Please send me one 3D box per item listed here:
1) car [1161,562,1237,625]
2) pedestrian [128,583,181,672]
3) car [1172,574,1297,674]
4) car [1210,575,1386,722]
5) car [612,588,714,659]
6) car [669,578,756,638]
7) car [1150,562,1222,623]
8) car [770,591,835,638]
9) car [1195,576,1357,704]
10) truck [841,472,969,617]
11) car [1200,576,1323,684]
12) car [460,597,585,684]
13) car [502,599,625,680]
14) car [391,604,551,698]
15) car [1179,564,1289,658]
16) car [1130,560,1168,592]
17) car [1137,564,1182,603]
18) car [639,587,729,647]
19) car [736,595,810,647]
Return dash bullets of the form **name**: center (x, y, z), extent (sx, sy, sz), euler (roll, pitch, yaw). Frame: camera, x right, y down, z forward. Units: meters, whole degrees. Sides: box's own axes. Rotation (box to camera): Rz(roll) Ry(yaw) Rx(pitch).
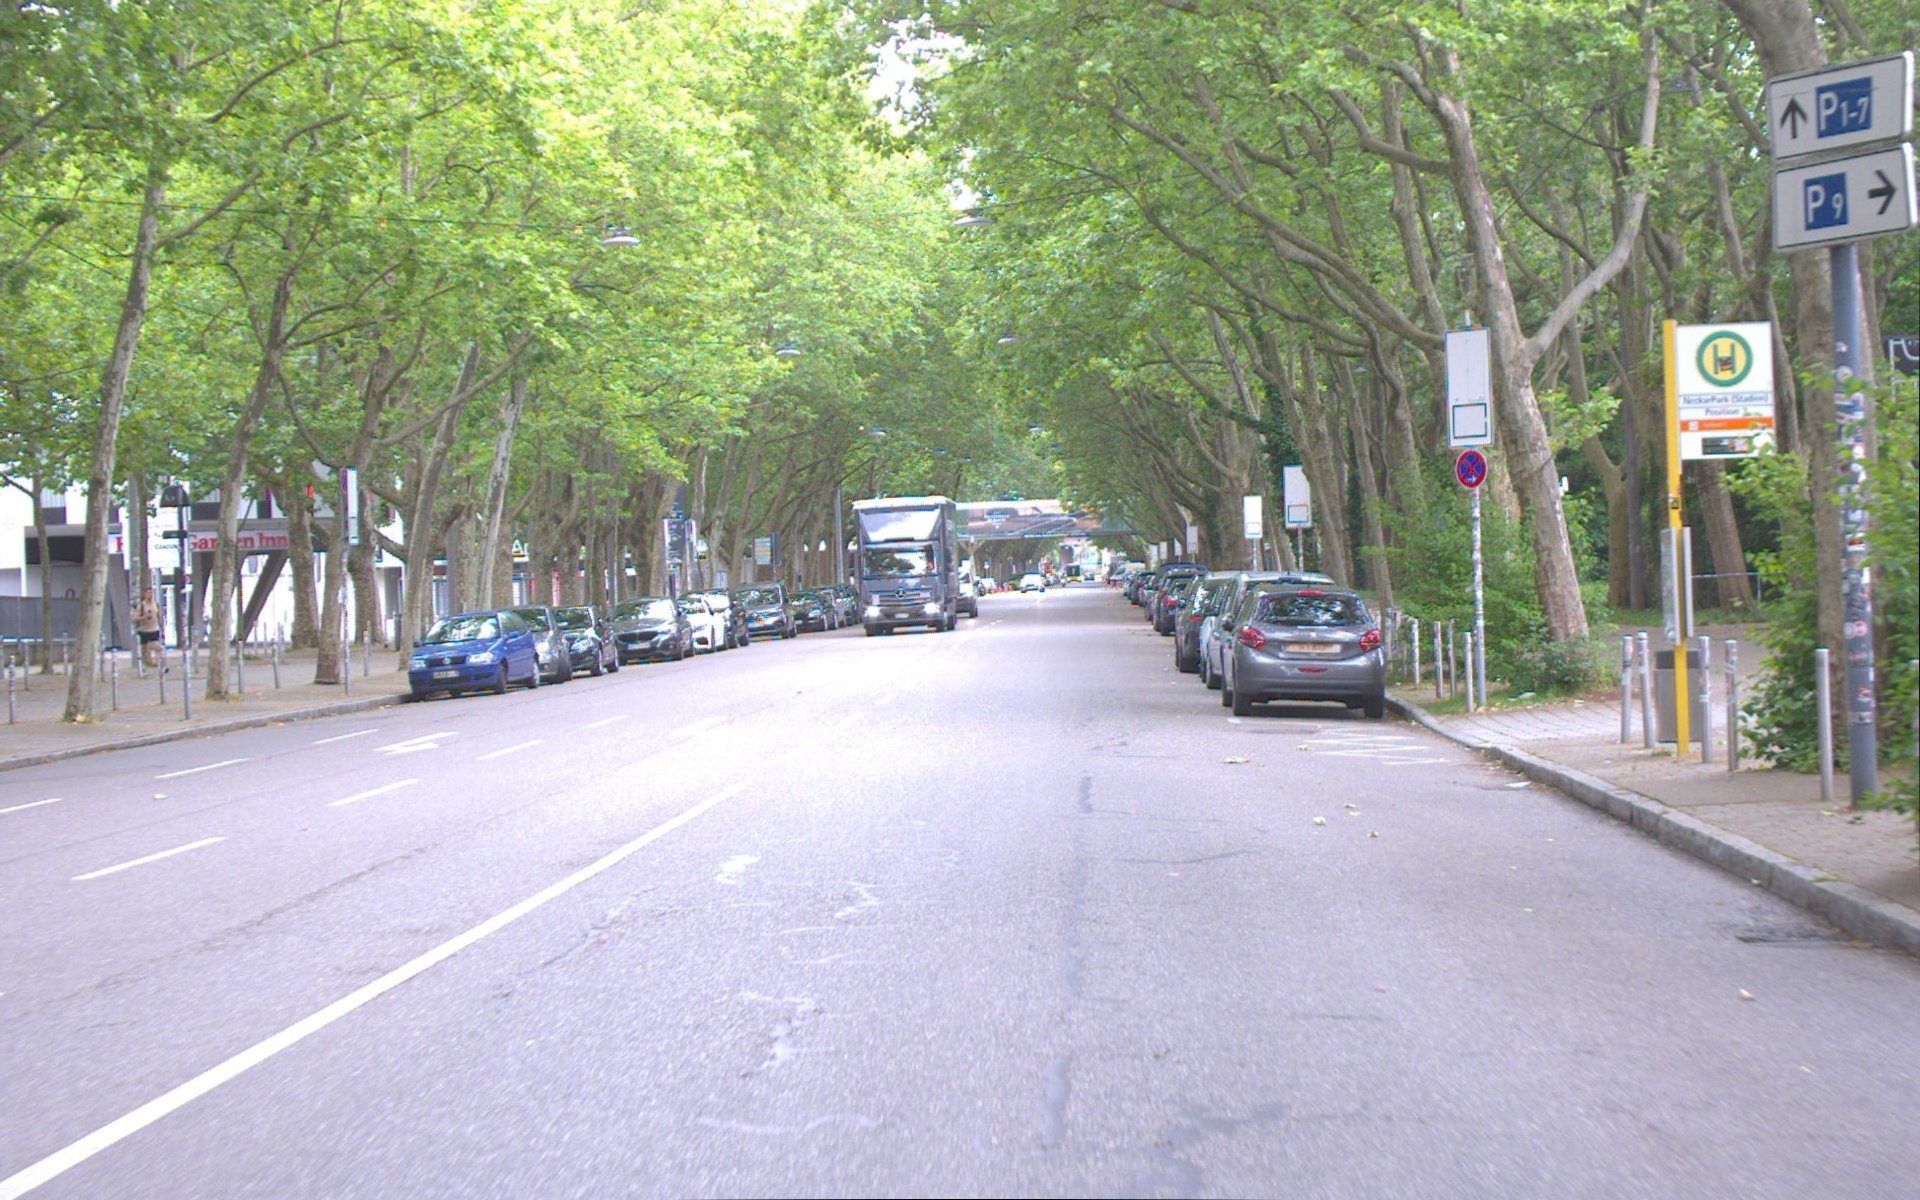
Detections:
- **car**: center (5.955, -0.173, 85.860), extent (1.756, 1.529, 3.929), euler (0, 0, 2)
- **pedestrian**: center (-16.772, 0.568, 71.564), extent (0.770, 1.828, 0.879), euler (-2, 1, -32)
- **car**: center (4.356, 0.350, 55.034), extent (1.756, 1.485, 4.416), euler (2, 0, 2)
- **car**: center (3.845, 0.514, 39.664), extent (1.699, 1.514, 4.454), euler (2, 1, 2)
- **car**: center (-6.692, 0.533, 77.764), extent (1.766, 1.414, 3.761), euler (-5, -1, 2)
- **car**: center (-6.511, 0.231, 90.748), extent (1.895, 1.433, 4.000), euler (-3, -1, 1)
- **car**: center (6.022, -0.208, 91.786), extent (1.756, 1.529, 3.929), euler (-2, 0, 2)
- **car**: center (-5.368, 0.504, 117.542), extent (1.895, 1.433, 4.000), euler (-3, -1, 1)
- **car**: center (4.125, 0.486, 45.387), extent (1.719, 1.562, 4.094), euler (2, 0, 0)
- **truck**: center (-1.527, -1.577, 100.372), extent (2.641, 3.888, 9.539), euler (-3, 0, 5)
- **car**: center (4.384, 0.412, 50.408), extent (1.675, 1.485, 3.686), euler (2, 0, 4)
- **car**: center (-8.009, 0.744, 63.161), extent (1.765, 1.414, 3.761), euler (-5, -1, -1)
- **car**: center (-7.800, 0.771, 67.902), extent (1.766, 1.414, 3.761), euler (-5, -1, 2)
- **car**: center (-8.267, 0.845, 58.395), extent (1.695, 1.414, 3.760), euler (-5, -1, 6)
- **car**: center (4.810, 0.179, 60.724), extent (1.756, 1.591, 3.929), euler (0, 0, 2)
- **car**: center (9.269, -1.193, 168.677), extent (1.756, 1.529, 3.929), euler (0, 0, 2)
- **car**: center (8.488, -0.702, 146.481), extent (1.756, 1.529, 3.929), euler (-3, 0, 2)
- **car**: center (-6.810, 0.441, 85.043), extent (1.732, 1.328, 3.999), euler (-3, -1, 2)
- **car**: center (-5.695, 0.649, 105.079), extent (1.895, 1.433, 4.000), euler (-3, -1, 1)
